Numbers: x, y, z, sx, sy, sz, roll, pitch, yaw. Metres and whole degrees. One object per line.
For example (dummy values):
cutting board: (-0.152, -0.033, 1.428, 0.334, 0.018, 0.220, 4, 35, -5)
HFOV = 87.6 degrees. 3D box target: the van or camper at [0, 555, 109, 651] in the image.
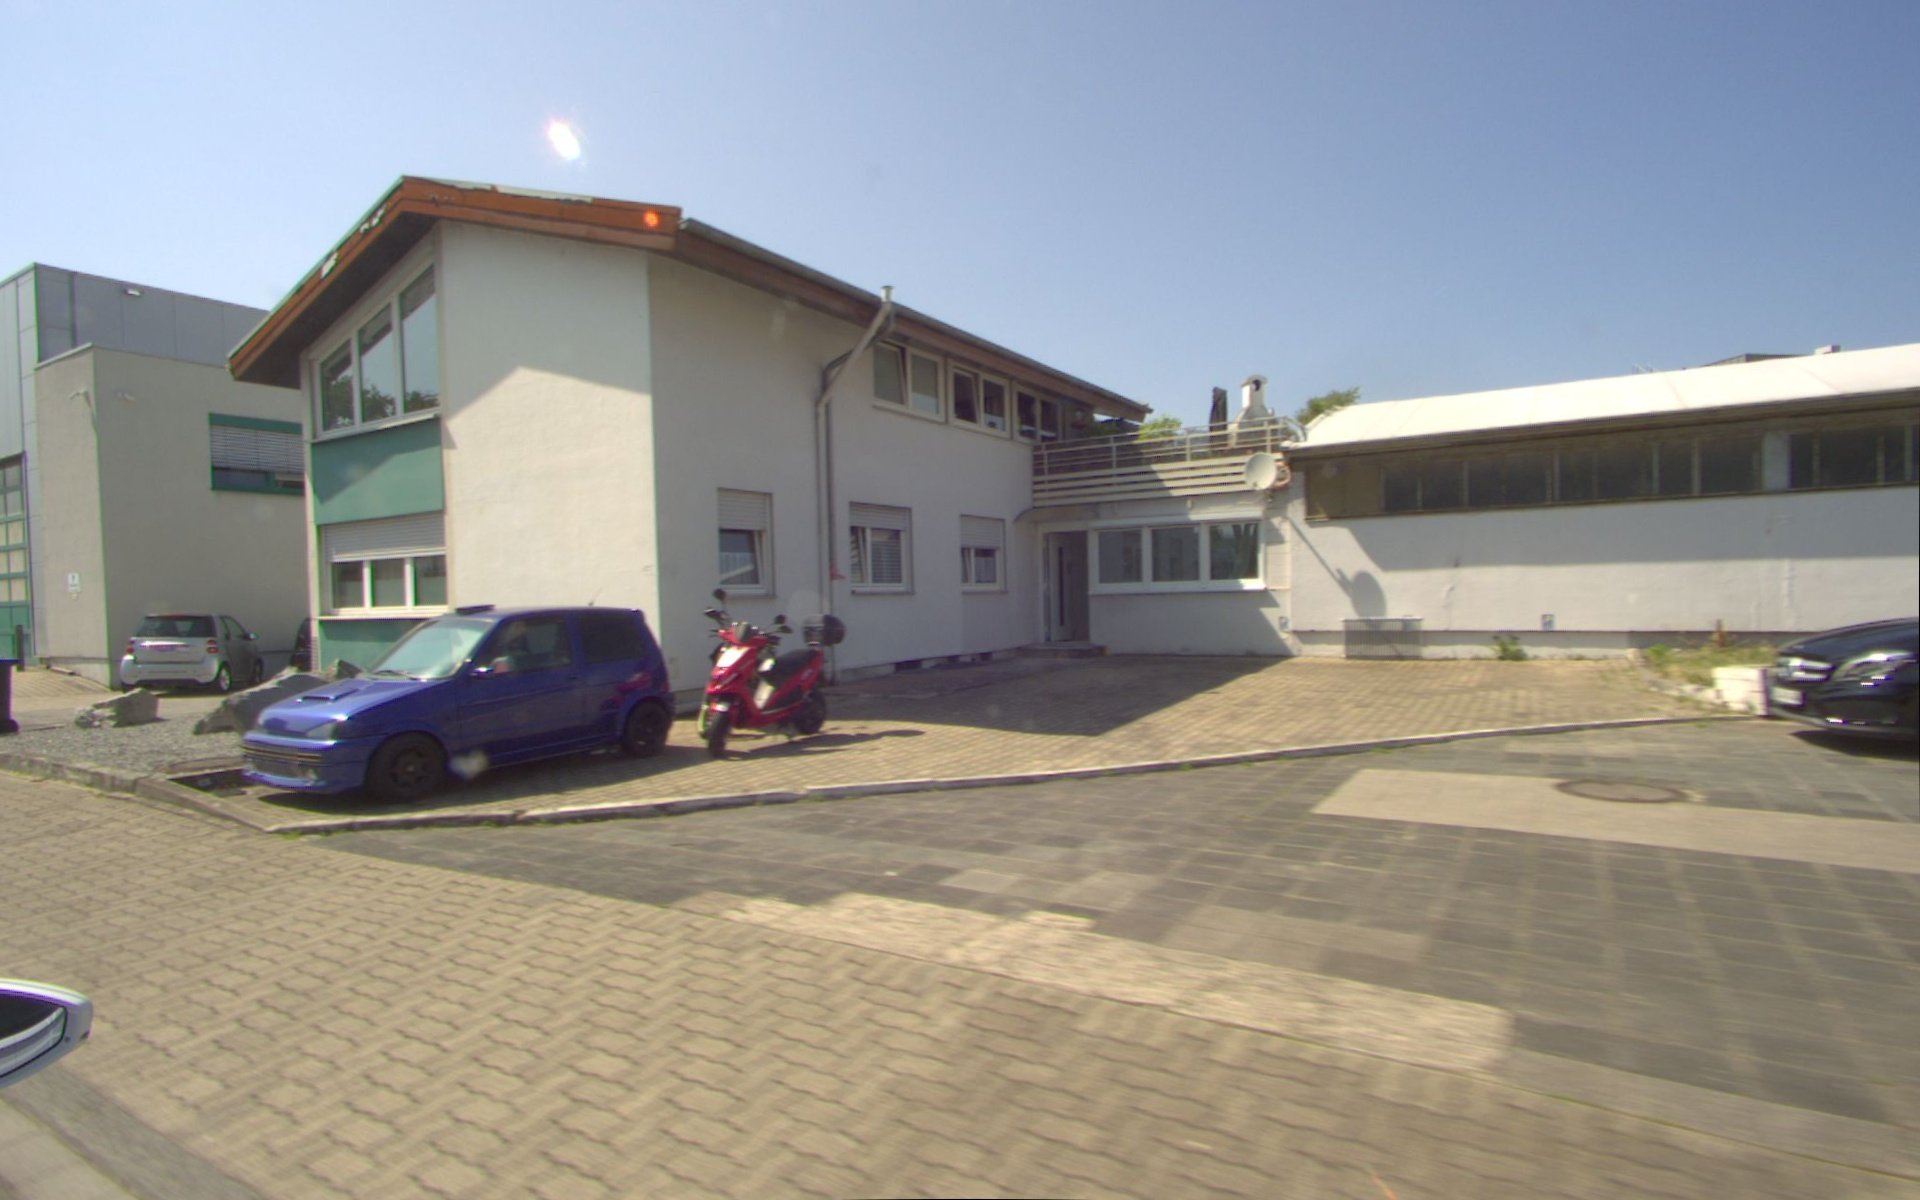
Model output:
van or camper: (-33.978, 0.114, 35.996, 1.969, 3.332, 4.750, -1, 0, 28)

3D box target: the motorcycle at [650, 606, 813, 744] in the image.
motorcycle: (-2.396, 0.747, 10.728, 0.783, 1.297, 1.749, -1, 1, 23)

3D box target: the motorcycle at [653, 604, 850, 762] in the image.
motorcycle: (-1.934, 0.727, 9.592, 0.784, 1.297, 1.866, -1, 2, 29)

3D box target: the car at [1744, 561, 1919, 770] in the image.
car: (8.743, 0.417, 7.565, 4.079, 1.516, 1.760, -2, 1, 21)

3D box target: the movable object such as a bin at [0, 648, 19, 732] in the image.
movable object such as a bin: (-11.459, 1.062, 11.782, 0.482, 0.959, 0.510, 0, 2, 43)

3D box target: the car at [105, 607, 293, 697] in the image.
car: (-15.132, 0.954, 20.167, 1.747, 1.560, 3.696, -2, 1, -16)

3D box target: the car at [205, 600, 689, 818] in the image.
car: (-4.116, 0.741, 8.476, 1.649, 1.417, 3.246, -1, 0, 32)

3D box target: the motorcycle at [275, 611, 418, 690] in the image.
motorcycle: (-13.465, 1.035, 22.206, 1.747, 1.512, 3.602, -2, 1, -16)
